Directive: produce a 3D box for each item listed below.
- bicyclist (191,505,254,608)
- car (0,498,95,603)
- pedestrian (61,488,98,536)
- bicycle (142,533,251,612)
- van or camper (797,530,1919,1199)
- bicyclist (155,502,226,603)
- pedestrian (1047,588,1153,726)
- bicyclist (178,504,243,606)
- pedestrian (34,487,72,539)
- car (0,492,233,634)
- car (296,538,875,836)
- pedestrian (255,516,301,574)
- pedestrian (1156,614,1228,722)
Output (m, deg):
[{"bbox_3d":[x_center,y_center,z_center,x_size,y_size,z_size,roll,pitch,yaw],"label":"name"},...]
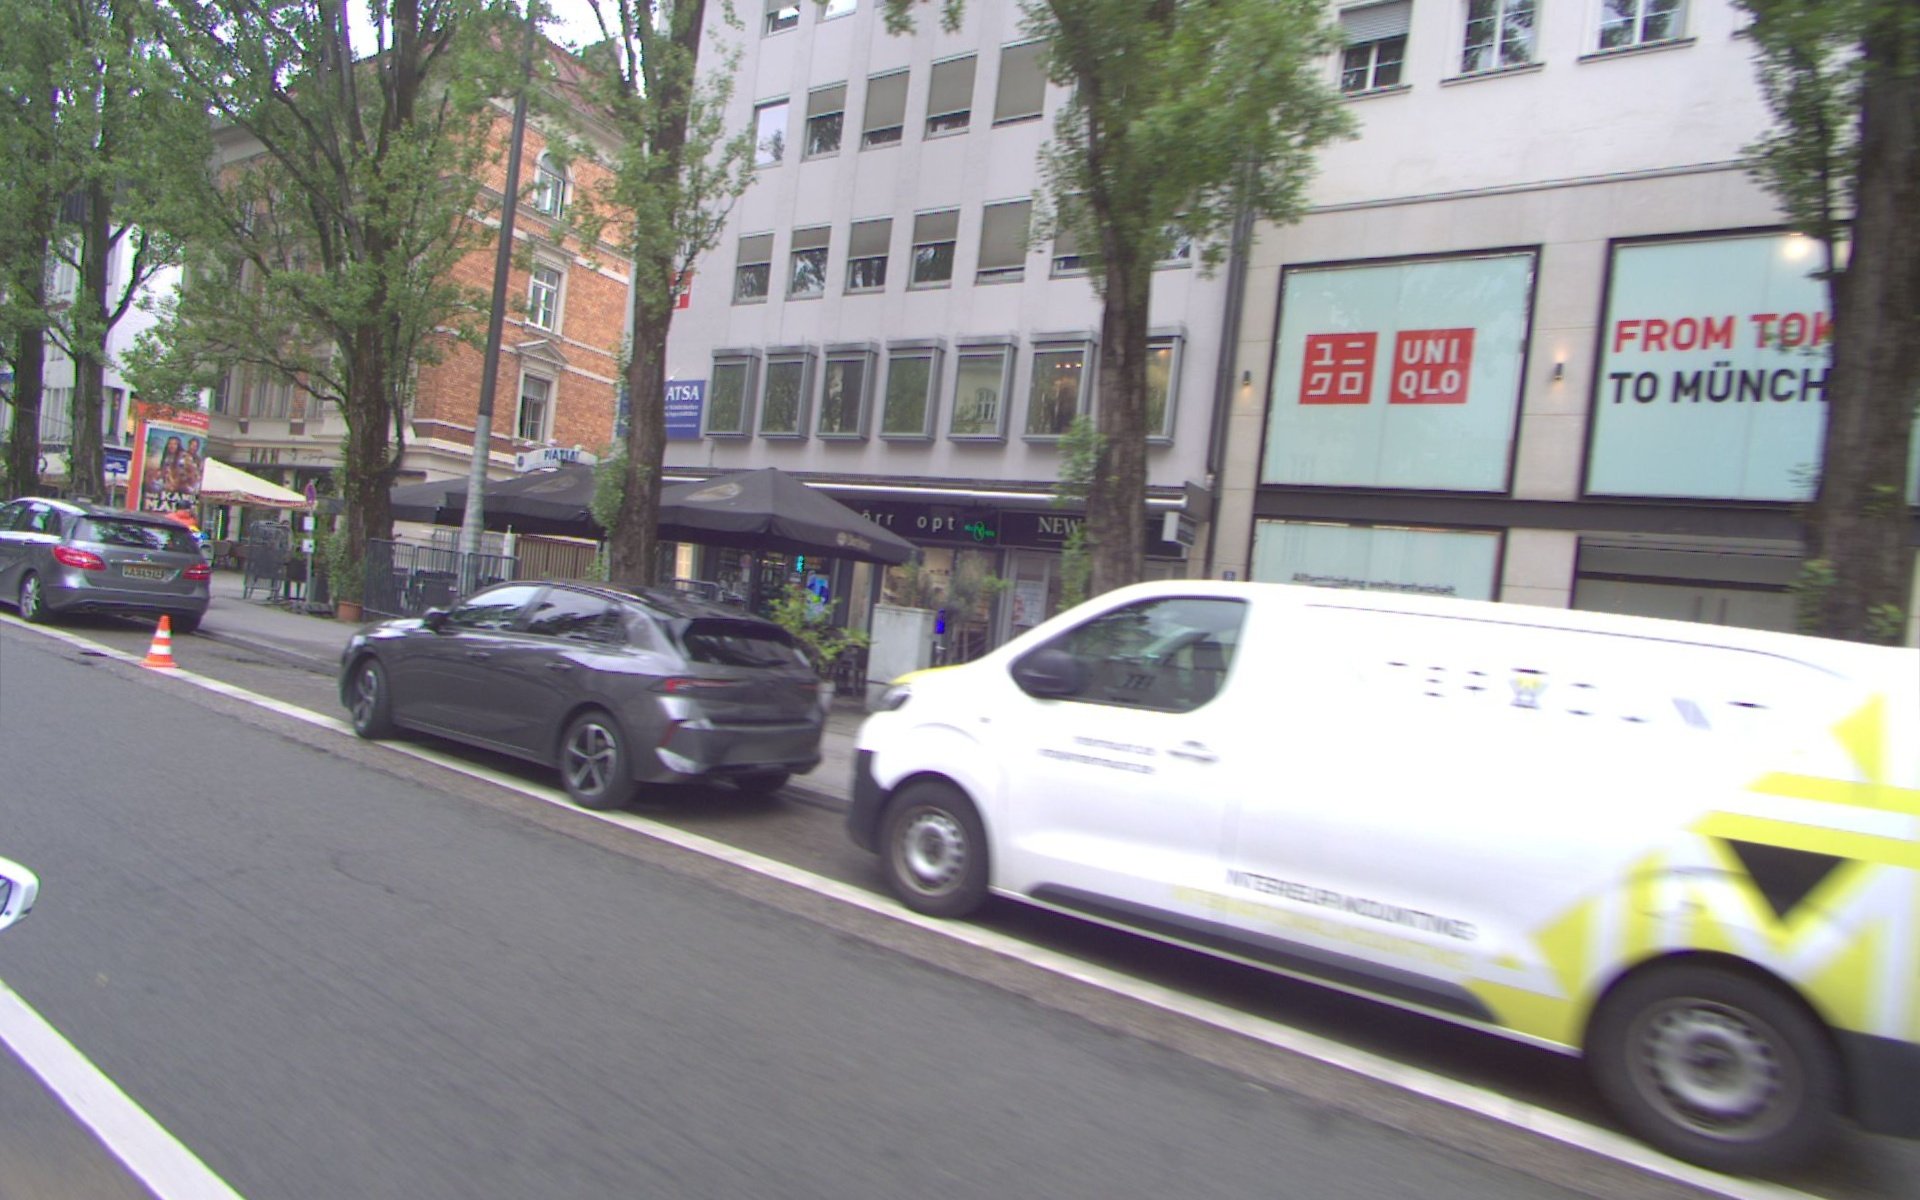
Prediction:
[{"bbox_3d":[-12.128,-0.703,16.542,0.385,1.608,0.622,7,1,31],"label":"bicyclist"},{"bbox_3d":[-16.064,-0.975,16.120,4.724,1.450,1.881,7,0,31],"label":"car"},{"bbox_3d":[-33.865,-3.379,38.695,0.916,1.698,0.729,7,1,32],"label":"pedestrian"},{"bbox_3d":[-12.942,-0.482,17.030,2.226,1.100,0.627,7,1,31],"label":"bicycle"},{"bbox_3d":[1.741,0.882,4.958,4.822,1.906,1.871,7,0,32],"label":"van or camper"},{"bbox_3d":[-13.117,-0.812,17.153,0.740,1.608,0.622,7,1,31],"label":"bicyclist"},{"bbox_3d":[2.073,0.836,14.894,1.083,1.864,0.825,7,1,39],"label":"pedestrian"},{"bbox_3d":[-12.481,-0.742,16.766,0.473,1.608,0.622,7,1,31],"label":"bicyclist"},{"bbox_3d":[-34.304,-3.272,38.058,0.916,1.825,0.729,7,1,32],"label":"pedestrian"},{"bbox_3d":[-11.978,-0.569,13.582,4.159,1.525,1.820,7,0,29],"label":"car"},{"bbox_3d":[-2.978,0.533,7.746,4.280,1.459,1.724,7,-2,30],"label":"car"},{"bbox_3d":[-20.845,-1.688,30.742,0.974,1.629,0.729,7,1,32],"label":"pedestrian"},{"bbox_3d":[3.743,1.094,16.198,0.759,1.628,0.670,7,-1,35],"label":"pedestrian"}]
